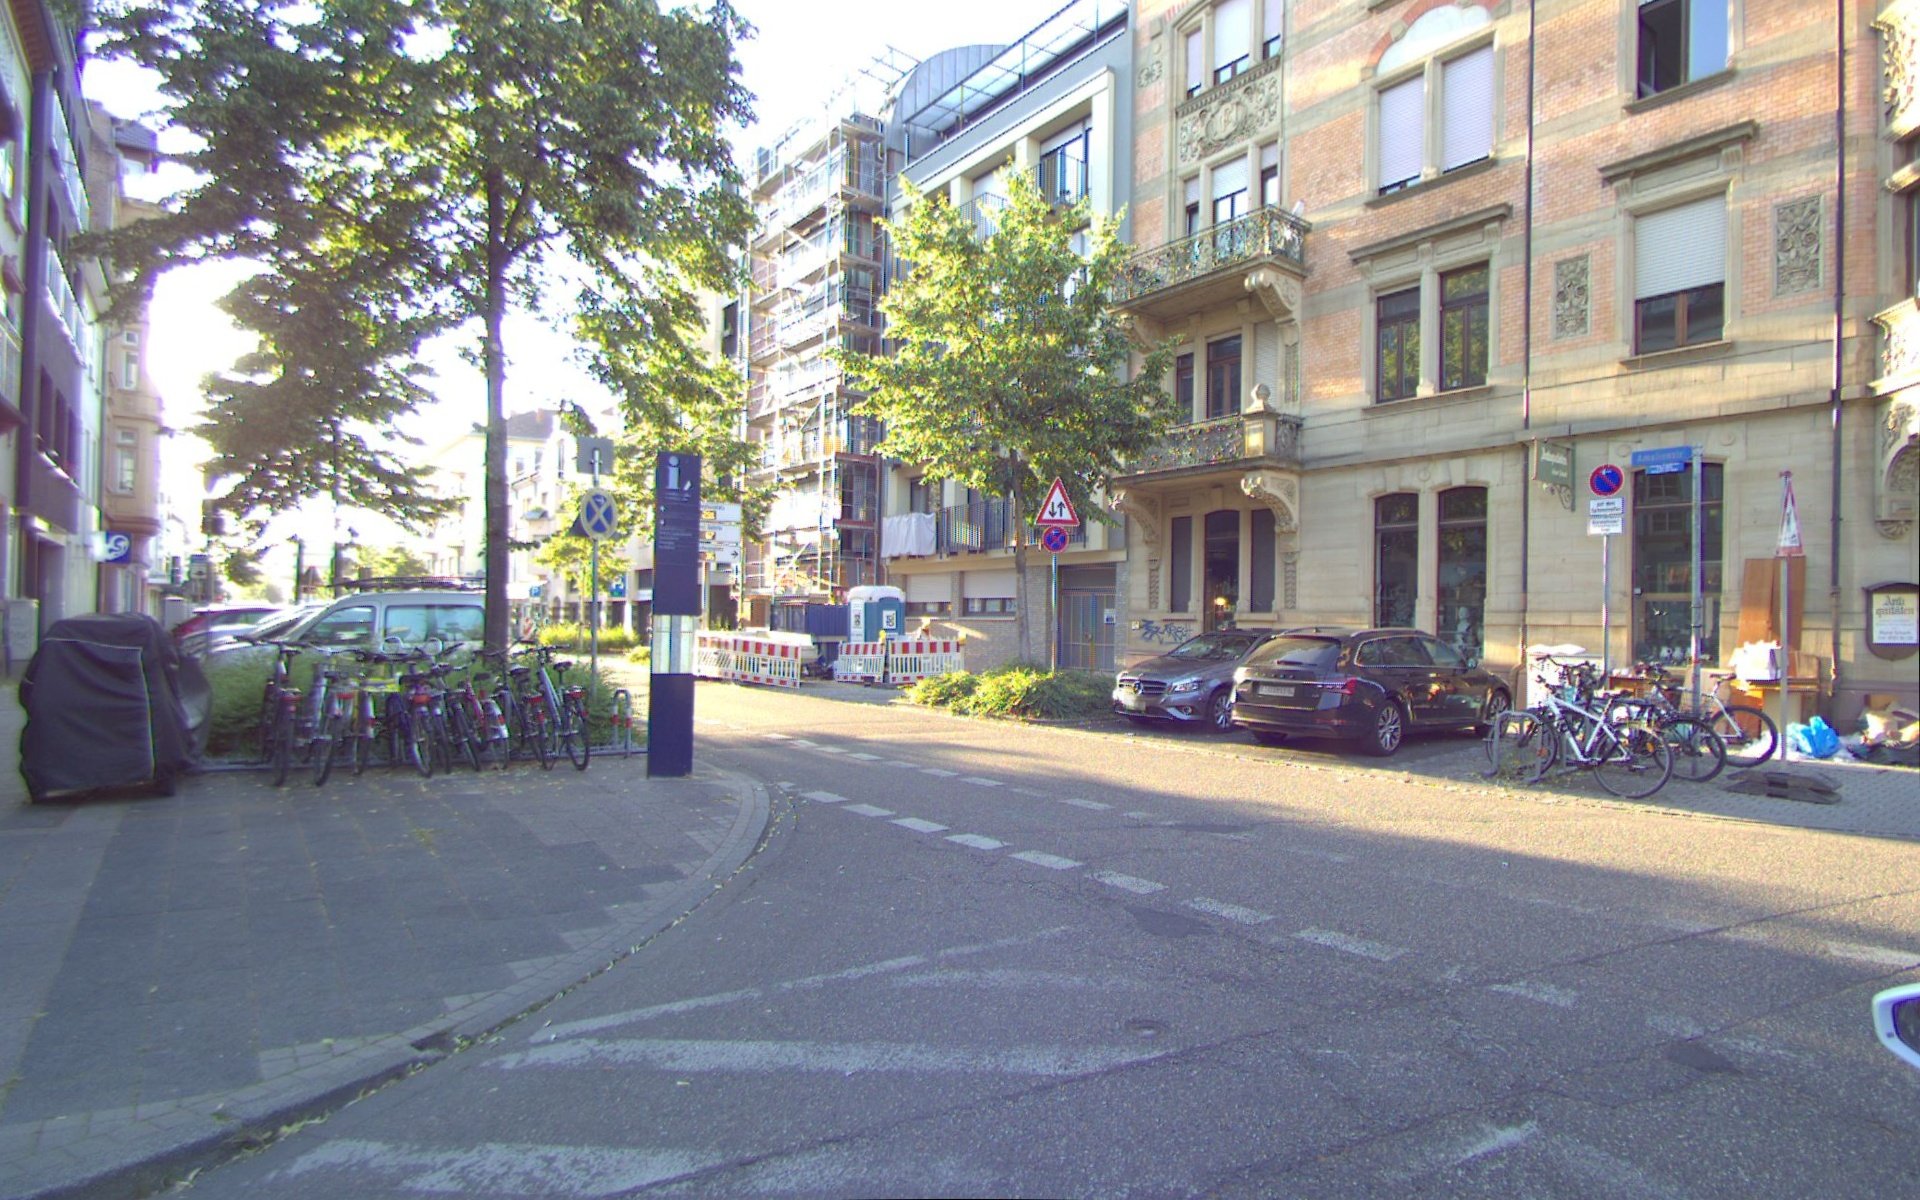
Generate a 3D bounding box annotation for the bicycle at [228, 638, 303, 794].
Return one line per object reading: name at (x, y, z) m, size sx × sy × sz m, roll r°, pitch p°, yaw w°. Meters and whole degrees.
bicycle at (-5.576, 0.880, 8.086) m, size 0.392 × 1.096 × 1.581 m, roll 4°, pitch -3°, yaw -34°

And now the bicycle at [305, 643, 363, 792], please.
bicycle at (-5.211, 0.923, 8.339) m, size 0.320 × 1.096 × 1.581 m, roll 2°, pitch -2°, yaw -34°

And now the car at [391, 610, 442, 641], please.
car at (-32.715, 1.527, 60.372) m, size 1.983 × 1.676 × 4.626 m, roll 4°, pitch -3°, yaw -36°

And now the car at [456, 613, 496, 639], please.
car at (-29.547, 1.564, 61.283) m, size 1.624 × 1.574 × 2.664 m, roll 1°, pitch -1°, yaw -39°

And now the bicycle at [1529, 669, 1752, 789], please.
bicycle at (7.011, 1.286, 10.434) m, size 0.634 × 1.027 × 1.812 m, roll 2°, pitch -1°, yaw -38°

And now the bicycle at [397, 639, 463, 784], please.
bicycle at (-4.705, 0.931, 8.883) m, size 0.310 × 1.163 × 1.597 m, roll 2°, pitch -3°, yaw -34°

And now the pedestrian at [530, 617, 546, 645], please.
pedestrian at (-25.625, 1.865, 60.967) m, size 0.805 × 1.668 × 0.600 m, roll 0°, pitch -1°, yaw -37°

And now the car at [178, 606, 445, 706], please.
car at (-10.830, 0.916, 17.025) m, size 3.621 × 1.535 × 1.635 m, roll 2°, pitch -1°, yaw -32°

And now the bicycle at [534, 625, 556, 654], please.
bicycle at (-16.753, 1.585, 40.498) m, size 0.380 × 1.114 × 1.506 m, roll 2°, pitch -2°, yaw -39°

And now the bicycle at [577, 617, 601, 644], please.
bicycle at (-15.814, 1.290, 42.784) m, size 0.380 × 1.115 × 1.503 m, roll 2°, pitch -2°, yaw -43°

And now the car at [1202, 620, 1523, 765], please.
car at (5.364, 1.059, 13.150) m, size 4.499 × 1.531 × 1.891 m, roll 0°, pitch -1°, yaw -37°

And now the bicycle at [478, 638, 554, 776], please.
bicycle at (-4.211, 0.964, 9.480) m, size 0.328 × 1.155 × 1.581 m, roll 4°, pitch -3°, yaw -34°

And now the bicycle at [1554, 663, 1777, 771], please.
bicycle at (8.157, 1.317, 11.719) m, size 0.461 × 1.054 × 2.087 m, roll 2°, pitch -1°, yaw -37°

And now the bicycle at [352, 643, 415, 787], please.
bicycle at (-4.986, 0.941, 8.662) m, size 0.338 × 1.096 × 1.581 m, roll 1°, pitch -2°, yaw -34°

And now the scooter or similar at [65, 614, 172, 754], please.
scooter or similar at (-8.102, 0.764, 9.720) m, size 0.672 × 1.238 × 1.380 m, roll 2°, pitch -1°, yaw -36°

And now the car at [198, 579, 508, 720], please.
car at (-9.005, 0.719, 15.131) m, size 3.783 × 1.874 × 1.684 m, roll 2°, pitch -2°, yaw -34°

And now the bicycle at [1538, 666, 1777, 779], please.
bicycle at (7.665, 1.304, 11.141) m, size 0.634 × 1.027 × 2.087 m, roll 2°, pitch -1°, yaw -37°

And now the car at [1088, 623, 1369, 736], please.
car at (4.217, 1.105, 15.475) m, size 4.499 × 1.499 × 1.848 m, roll 1°, pitch -1°, yaw -37°

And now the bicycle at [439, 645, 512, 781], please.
bicycle at (-4.438, 0.985, 9.158) m, size 0.317 × 1.096 × 1.581 m, roll 4°, pitch -3°, yaw -34°

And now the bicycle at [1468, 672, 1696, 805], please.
bicycle at (5.968, 1.282, 9.743) m, size 0.565 × 1.061 × 1.815 m, roll 1°, pitch -1°, yaw -34°

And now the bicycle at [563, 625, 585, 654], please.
bicycle at (-16.817, 1.722, 43.789) m, size 0.380 × 1.205 × 1.505 m, roll 3°, pitch -3°, yaw -40°

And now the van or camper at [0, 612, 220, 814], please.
van or camper at (-6.147, 0.754, 7.387) m, size 0.934 × 1.276 × 1.829 m, roll 3°, pitch -3°, yaw -32°

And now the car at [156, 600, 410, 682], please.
car at (-13.960, 0.832, 20.840) m, size 4.188 × 1.536 × 1.742 m, roll 2°, pitch -2°, yaw -40°

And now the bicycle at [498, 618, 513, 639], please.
bicycle at (-27.900, 1.752, 61.662) m, size 0.395 × 1.251 × 1.805 m, roll 1°, pitch -1°, yaw -39°

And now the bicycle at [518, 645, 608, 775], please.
bicycle at (-3.861, 1.016, 9.709) m, size 0.392 × 1.122 × 1.696 m, roll 4°, pitch -3°, yaw -34°

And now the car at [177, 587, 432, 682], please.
car at (-12.186, 0.693, 18.873) m, size 3.799 × 1.606 × 1.725 m, roll 3°, pitch -3°, yaw -34°
